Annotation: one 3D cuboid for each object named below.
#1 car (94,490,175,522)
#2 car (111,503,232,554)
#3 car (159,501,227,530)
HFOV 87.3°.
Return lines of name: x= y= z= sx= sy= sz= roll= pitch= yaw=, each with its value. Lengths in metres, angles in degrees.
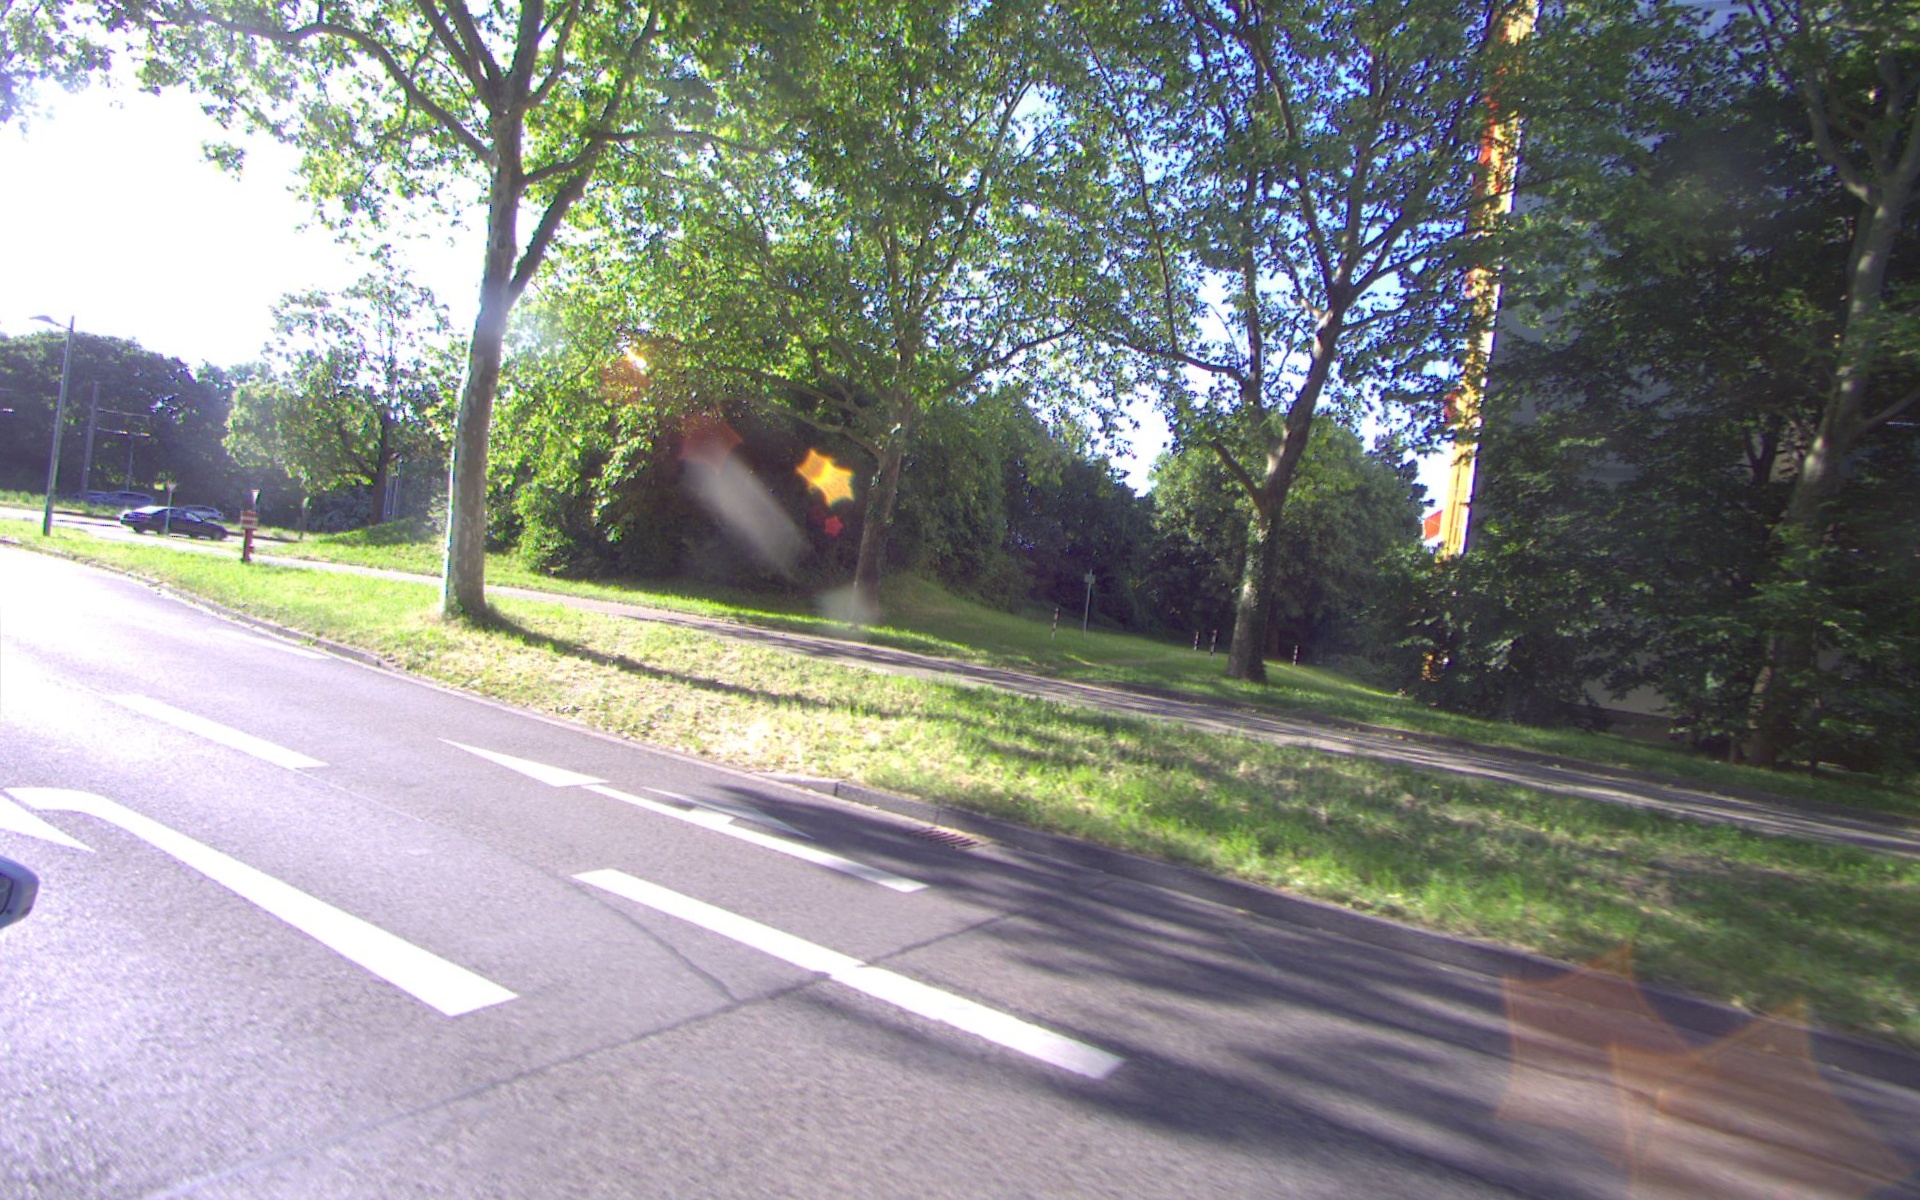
car: x=-60.971 y=-6.914 z=74.437 sx=4.327 sy=1.577 sz=1.855 roll=9 pitch=-2 yaw=-35
car: x=-41.296 y=-3.689 z=52.841 sx=1.950 sy=1.812 sz=4.621 roll=8 pitch=-2 yaw=14
car: x=-59.966 y=-6.565 z=78.737 sx=3.963 sy=1.512 sz=1.845 roll=9 pitch=-2 yaw=-33
